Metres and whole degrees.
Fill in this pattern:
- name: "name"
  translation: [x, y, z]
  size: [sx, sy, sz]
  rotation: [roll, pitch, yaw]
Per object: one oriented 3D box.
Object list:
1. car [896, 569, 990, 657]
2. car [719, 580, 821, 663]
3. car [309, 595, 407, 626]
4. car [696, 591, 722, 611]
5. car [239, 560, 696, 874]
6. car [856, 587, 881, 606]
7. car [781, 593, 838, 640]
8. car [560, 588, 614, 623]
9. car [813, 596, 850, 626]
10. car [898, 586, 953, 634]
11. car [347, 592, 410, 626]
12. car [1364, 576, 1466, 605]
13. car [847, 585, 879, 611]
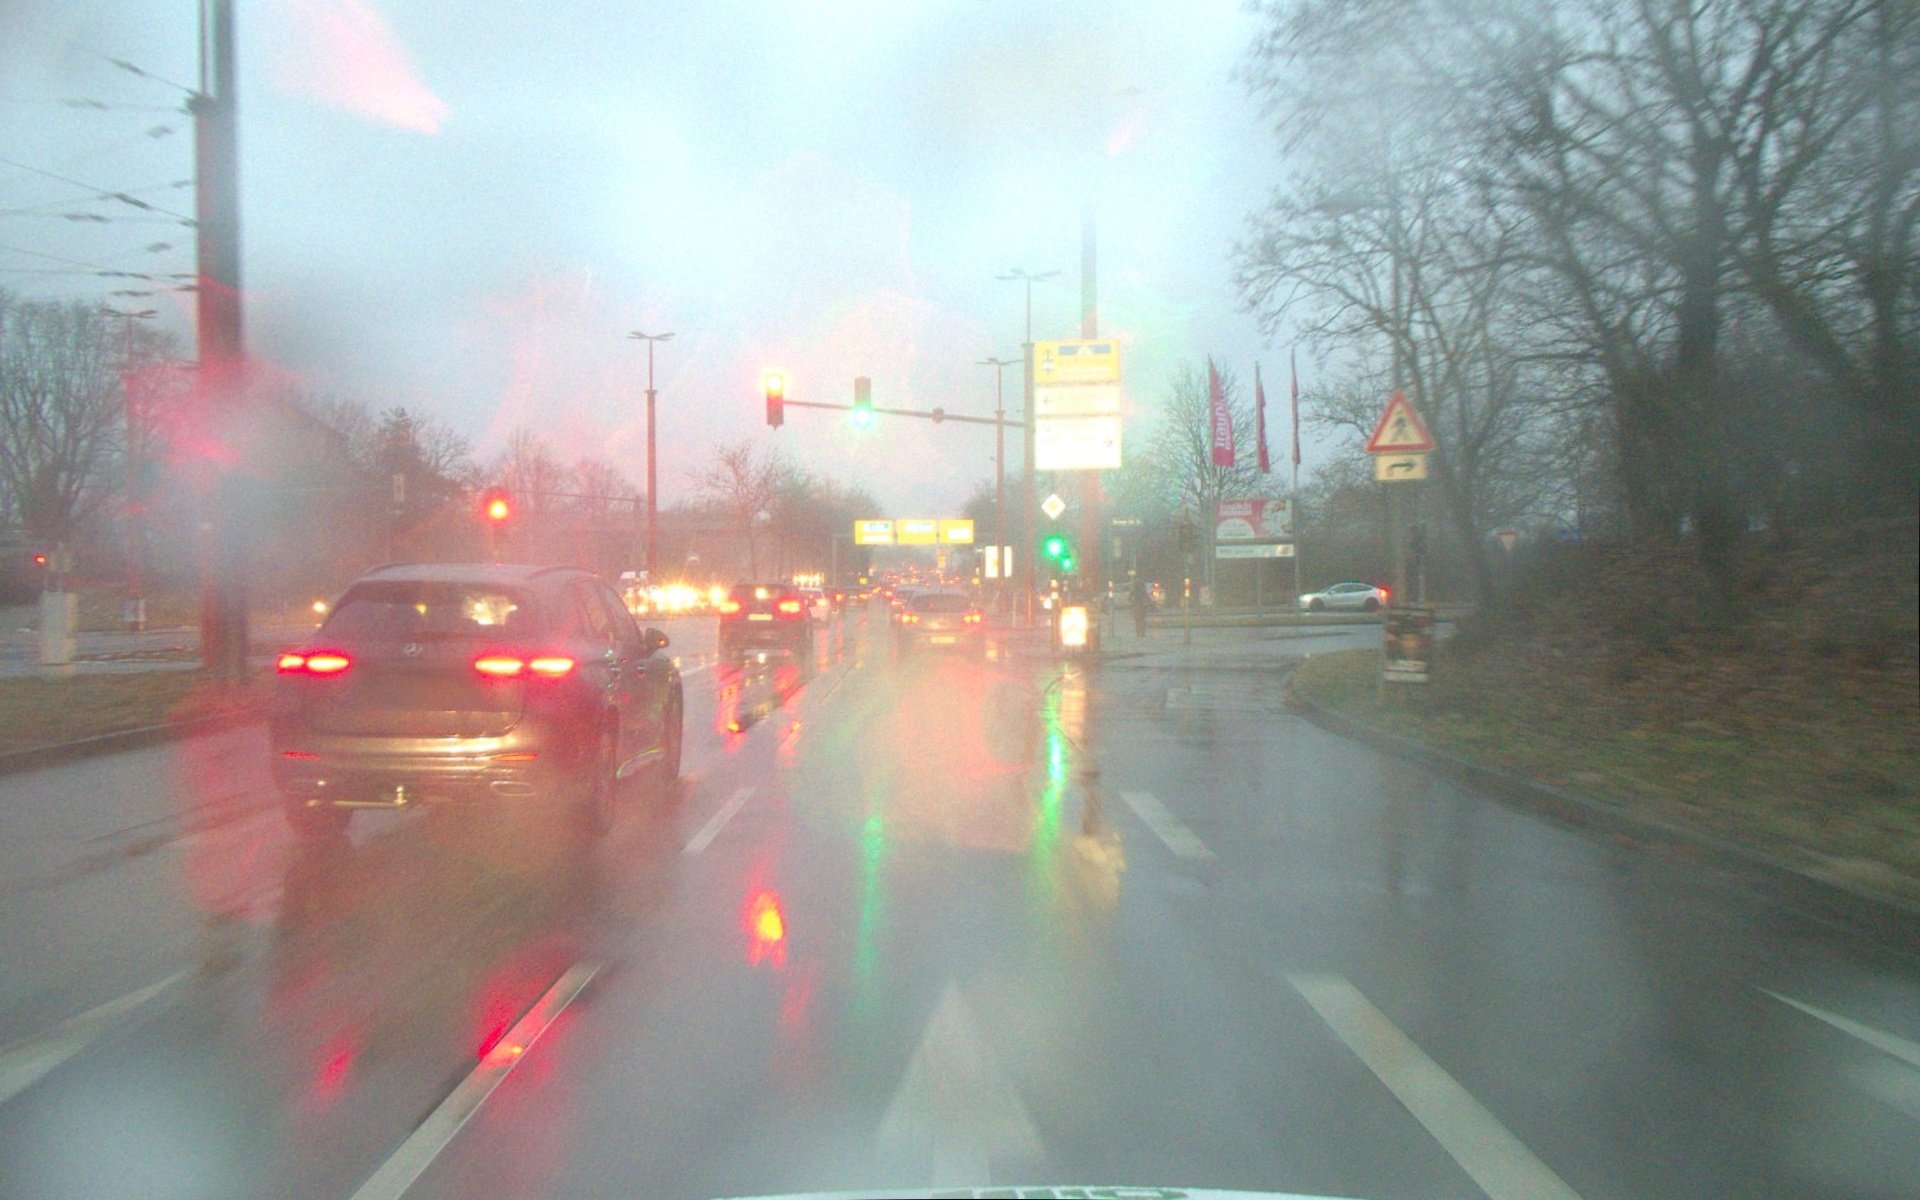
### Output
- name: "car"
  translation: [-0.353, 0.252, 34.211]
  size: [1.785, 1.677, 4.466]
  rotation: [-1, 0, -1]
- name: "car"
  translation: [-4.039, 0.436, 35.772]
  size: [1.785, 1.677, 3.999]
  rotation: [0, 0, -1]
- name: "car"
  translation: [-31.216, 0.532, 85.805]
  size: [1.960, 1.556, 4.467]
  rotation: [0, 0, 36]
- name: "car"
  translation: [-21.314, 0.054, 140.494]
  size: [1.734, 1.614, 4.032]
  rotation: [0, 1, -2]
- name: "car"
  translation: [-3.007, 0.621, 11.136]
  size: [1.785, 1.677, 4.466]
  rotation: [0, 0, -1]
- name: "car"
  translation: [-7.877, -0.281, 143.005]
  size: [1.953, 1.604, 3.999]
  rotation: [1, 0, -1]
- name: "car"
  translation: [-5.561, 0.581, 61.511]
  size: [1.785, 1.677, 3.999]
  rotation: [0, 0, -1]
- name: "car"
  translation: [-17.808, 0.247, 79.097]
  size: [1.820, 1.609, 4.077]
  rotation: [-1, 1, -3]
- name: "car"
  translation: [-6.014, 0.486, 77.779]
  size: [1.474, 1.362, 3.999]
  rotation: [0, 0, -1]
- name: "car"
  translation: [-1.280, 0.377, 61.457]
  size: [1.953, 1.691, 3.999]
  rotation: [1, 0, -1]
- name: "car"
  translation: [-27.283, 0.395, 77.732]
  size: [1.586, 1.521, 4.016]
  rotation: [0, 1, -1]
- name: "car"
  translation: [22.916, -0.475, 83.428]
  size: [4.643, 1.400, 1.882]
  rotation: [0, 0, -1]
- name: "car"
  translation: [-5.878, -0.115, 100.546]
  size: [1.785, 1.530, 3.999]
  rotation: [0, 0, -1]
